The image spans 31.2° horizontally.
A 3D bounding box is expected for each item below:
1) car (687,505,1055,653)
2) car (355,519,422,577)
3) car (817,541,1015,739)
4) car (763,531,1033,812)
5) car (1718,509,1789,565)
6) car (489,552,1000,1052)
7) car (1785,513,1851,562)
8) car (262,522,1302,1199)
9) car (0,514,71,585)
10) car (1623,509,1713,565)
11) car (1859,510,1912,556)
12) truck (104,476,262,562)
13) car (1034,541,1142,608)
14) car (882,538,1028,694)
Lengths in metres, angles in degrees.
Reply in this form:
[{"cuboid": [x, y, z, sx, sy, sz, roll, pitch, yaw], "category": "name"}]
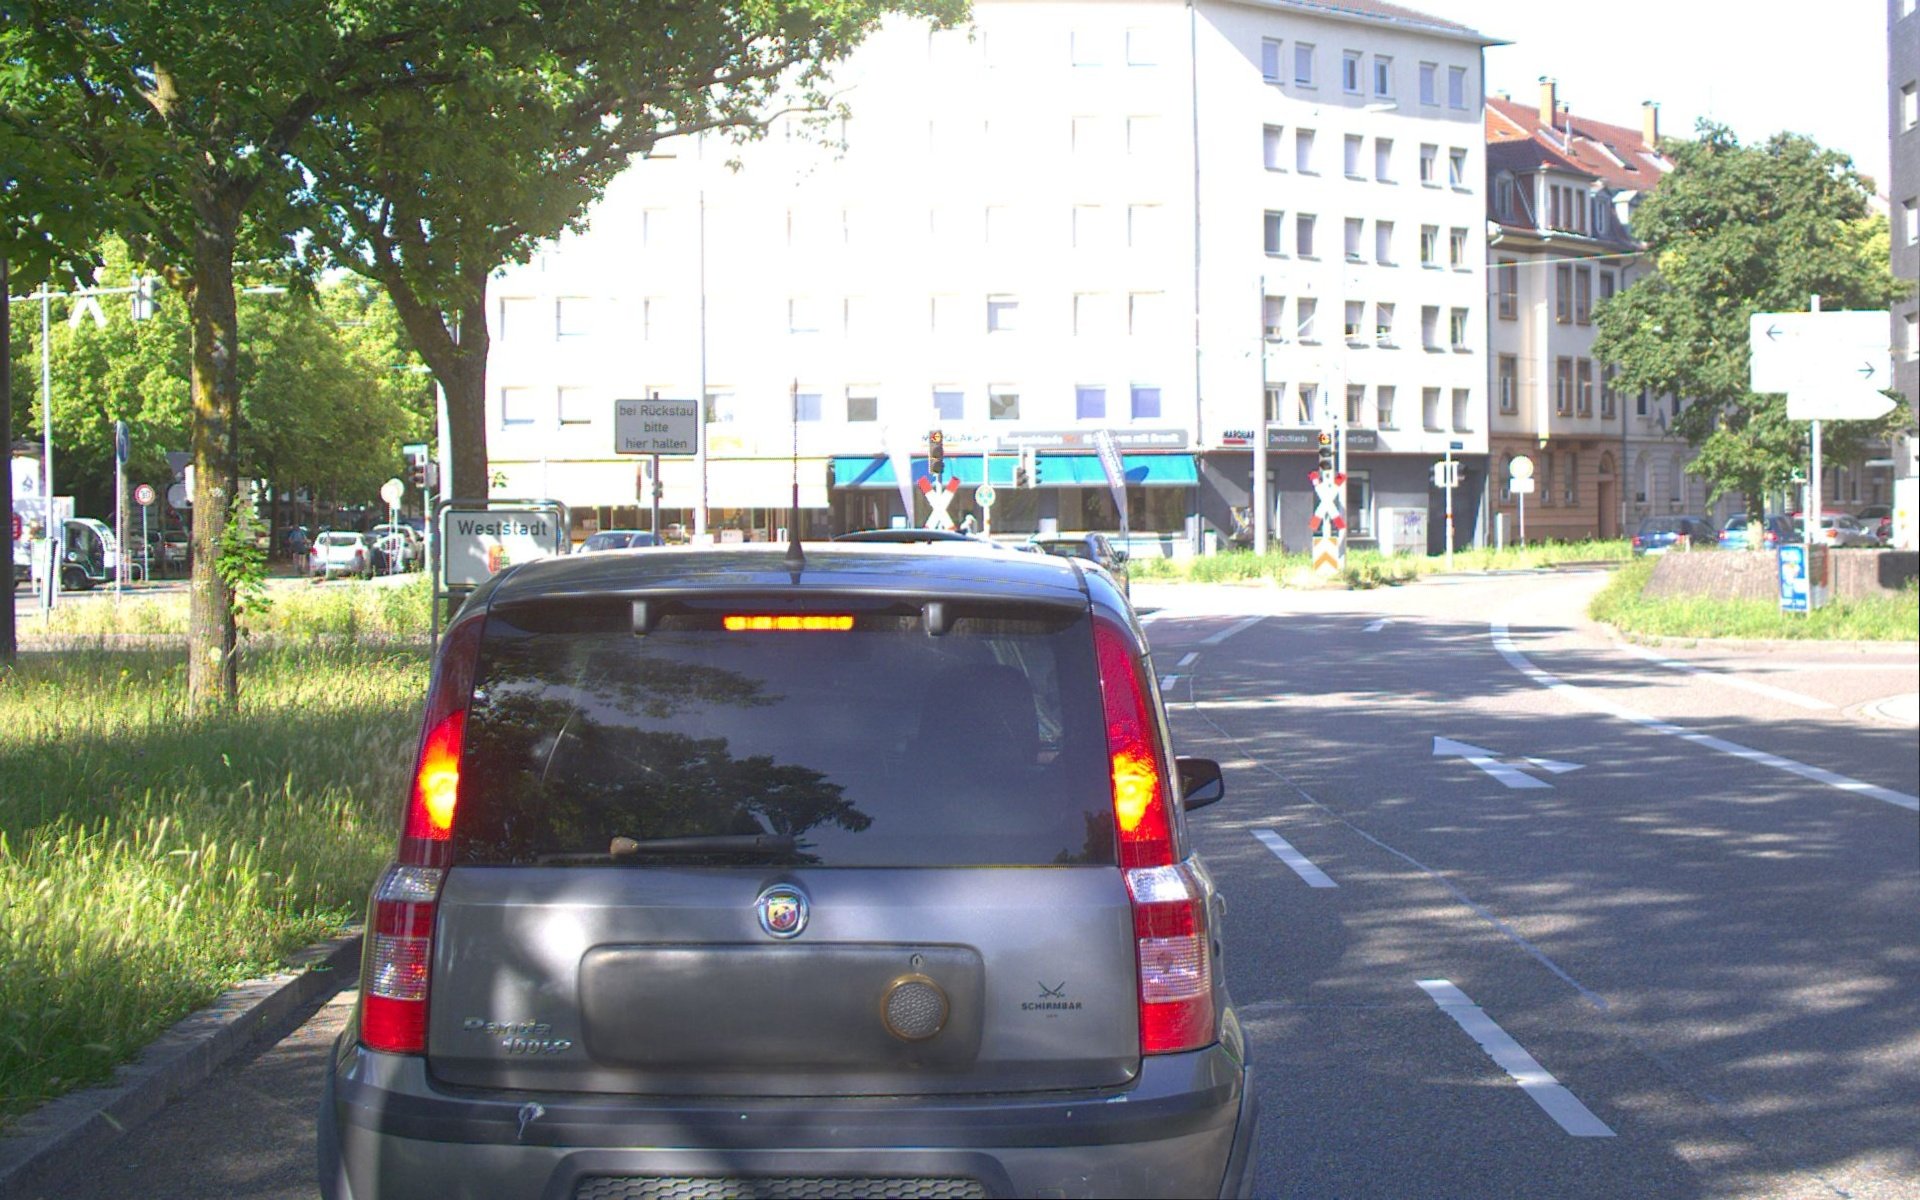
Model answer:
[{"cuboid": [-1.125, -0.246, 44.372, 4.447, 1.642, 1.831, -2, -3, 9], "category": "car"}, {"cuboid": [-20.519, -1.893, 123.586, 1.993, 2.007, 4.001, -1, 1, -4], "category": "car"}, {"cuboid": [-0.346, 0.267, 27.241, 1.463, 1.420, 3.381, 0, 2, -1], "category": "car"}, {"cuboid": [-0.358, 0.357, 20.571, 1.463, 1.503, 3.505, 0, 2, -1], "category": "car"}, {"cuboid": [20.878, -1.663, 90.394, 1.683, 1.444, 3.569, 0, 1, 15], "category": "car"}, {"cuboid": [-0.642, 0.560, 11.644, 1.463, 1.396, 3.393, 0, 1, -1], "category": "car"}, {"cuboid": [23.447, -1.721, 93.886, 1.528, 1.310, 3.285, 0, 2, 18], "category": "car"}, {"cuboid": [-0.299, 0.595, 7.422, 1.628, 1.503, 4.000, -1, 1, -1], "category": "car"}, {"cuboid": [-27.758, -1.440, 98.274, 4.176, 2.007, 1.932, -1, 1, -2], "category": "car"}, {"cuboid": [19.072, -1.707, 92.545, 1.684, 1.444, 3.567, 0, 2, 23], "category": "car"}, {"cuboid": [30.297, -2.204, 112.508, 1.528, 1.464, 3.285, 0, 2, 18], "category": "car"}, {"cuboid": [-28.884, -2.994, 127.777, 5.485, 3.158, 2.340, 0, 1, 28], "category": "truck"}, {"cuboid": [2.169, -0.439, 57.672, 1.143, 1.060, 2.719, 0, 1, 17], "category": "car"}, {"cuboid": [-0.061, 0.120, 33.867, 1.356, 1.444, 3.266, -1, 1, -1], "category": "car"}]
